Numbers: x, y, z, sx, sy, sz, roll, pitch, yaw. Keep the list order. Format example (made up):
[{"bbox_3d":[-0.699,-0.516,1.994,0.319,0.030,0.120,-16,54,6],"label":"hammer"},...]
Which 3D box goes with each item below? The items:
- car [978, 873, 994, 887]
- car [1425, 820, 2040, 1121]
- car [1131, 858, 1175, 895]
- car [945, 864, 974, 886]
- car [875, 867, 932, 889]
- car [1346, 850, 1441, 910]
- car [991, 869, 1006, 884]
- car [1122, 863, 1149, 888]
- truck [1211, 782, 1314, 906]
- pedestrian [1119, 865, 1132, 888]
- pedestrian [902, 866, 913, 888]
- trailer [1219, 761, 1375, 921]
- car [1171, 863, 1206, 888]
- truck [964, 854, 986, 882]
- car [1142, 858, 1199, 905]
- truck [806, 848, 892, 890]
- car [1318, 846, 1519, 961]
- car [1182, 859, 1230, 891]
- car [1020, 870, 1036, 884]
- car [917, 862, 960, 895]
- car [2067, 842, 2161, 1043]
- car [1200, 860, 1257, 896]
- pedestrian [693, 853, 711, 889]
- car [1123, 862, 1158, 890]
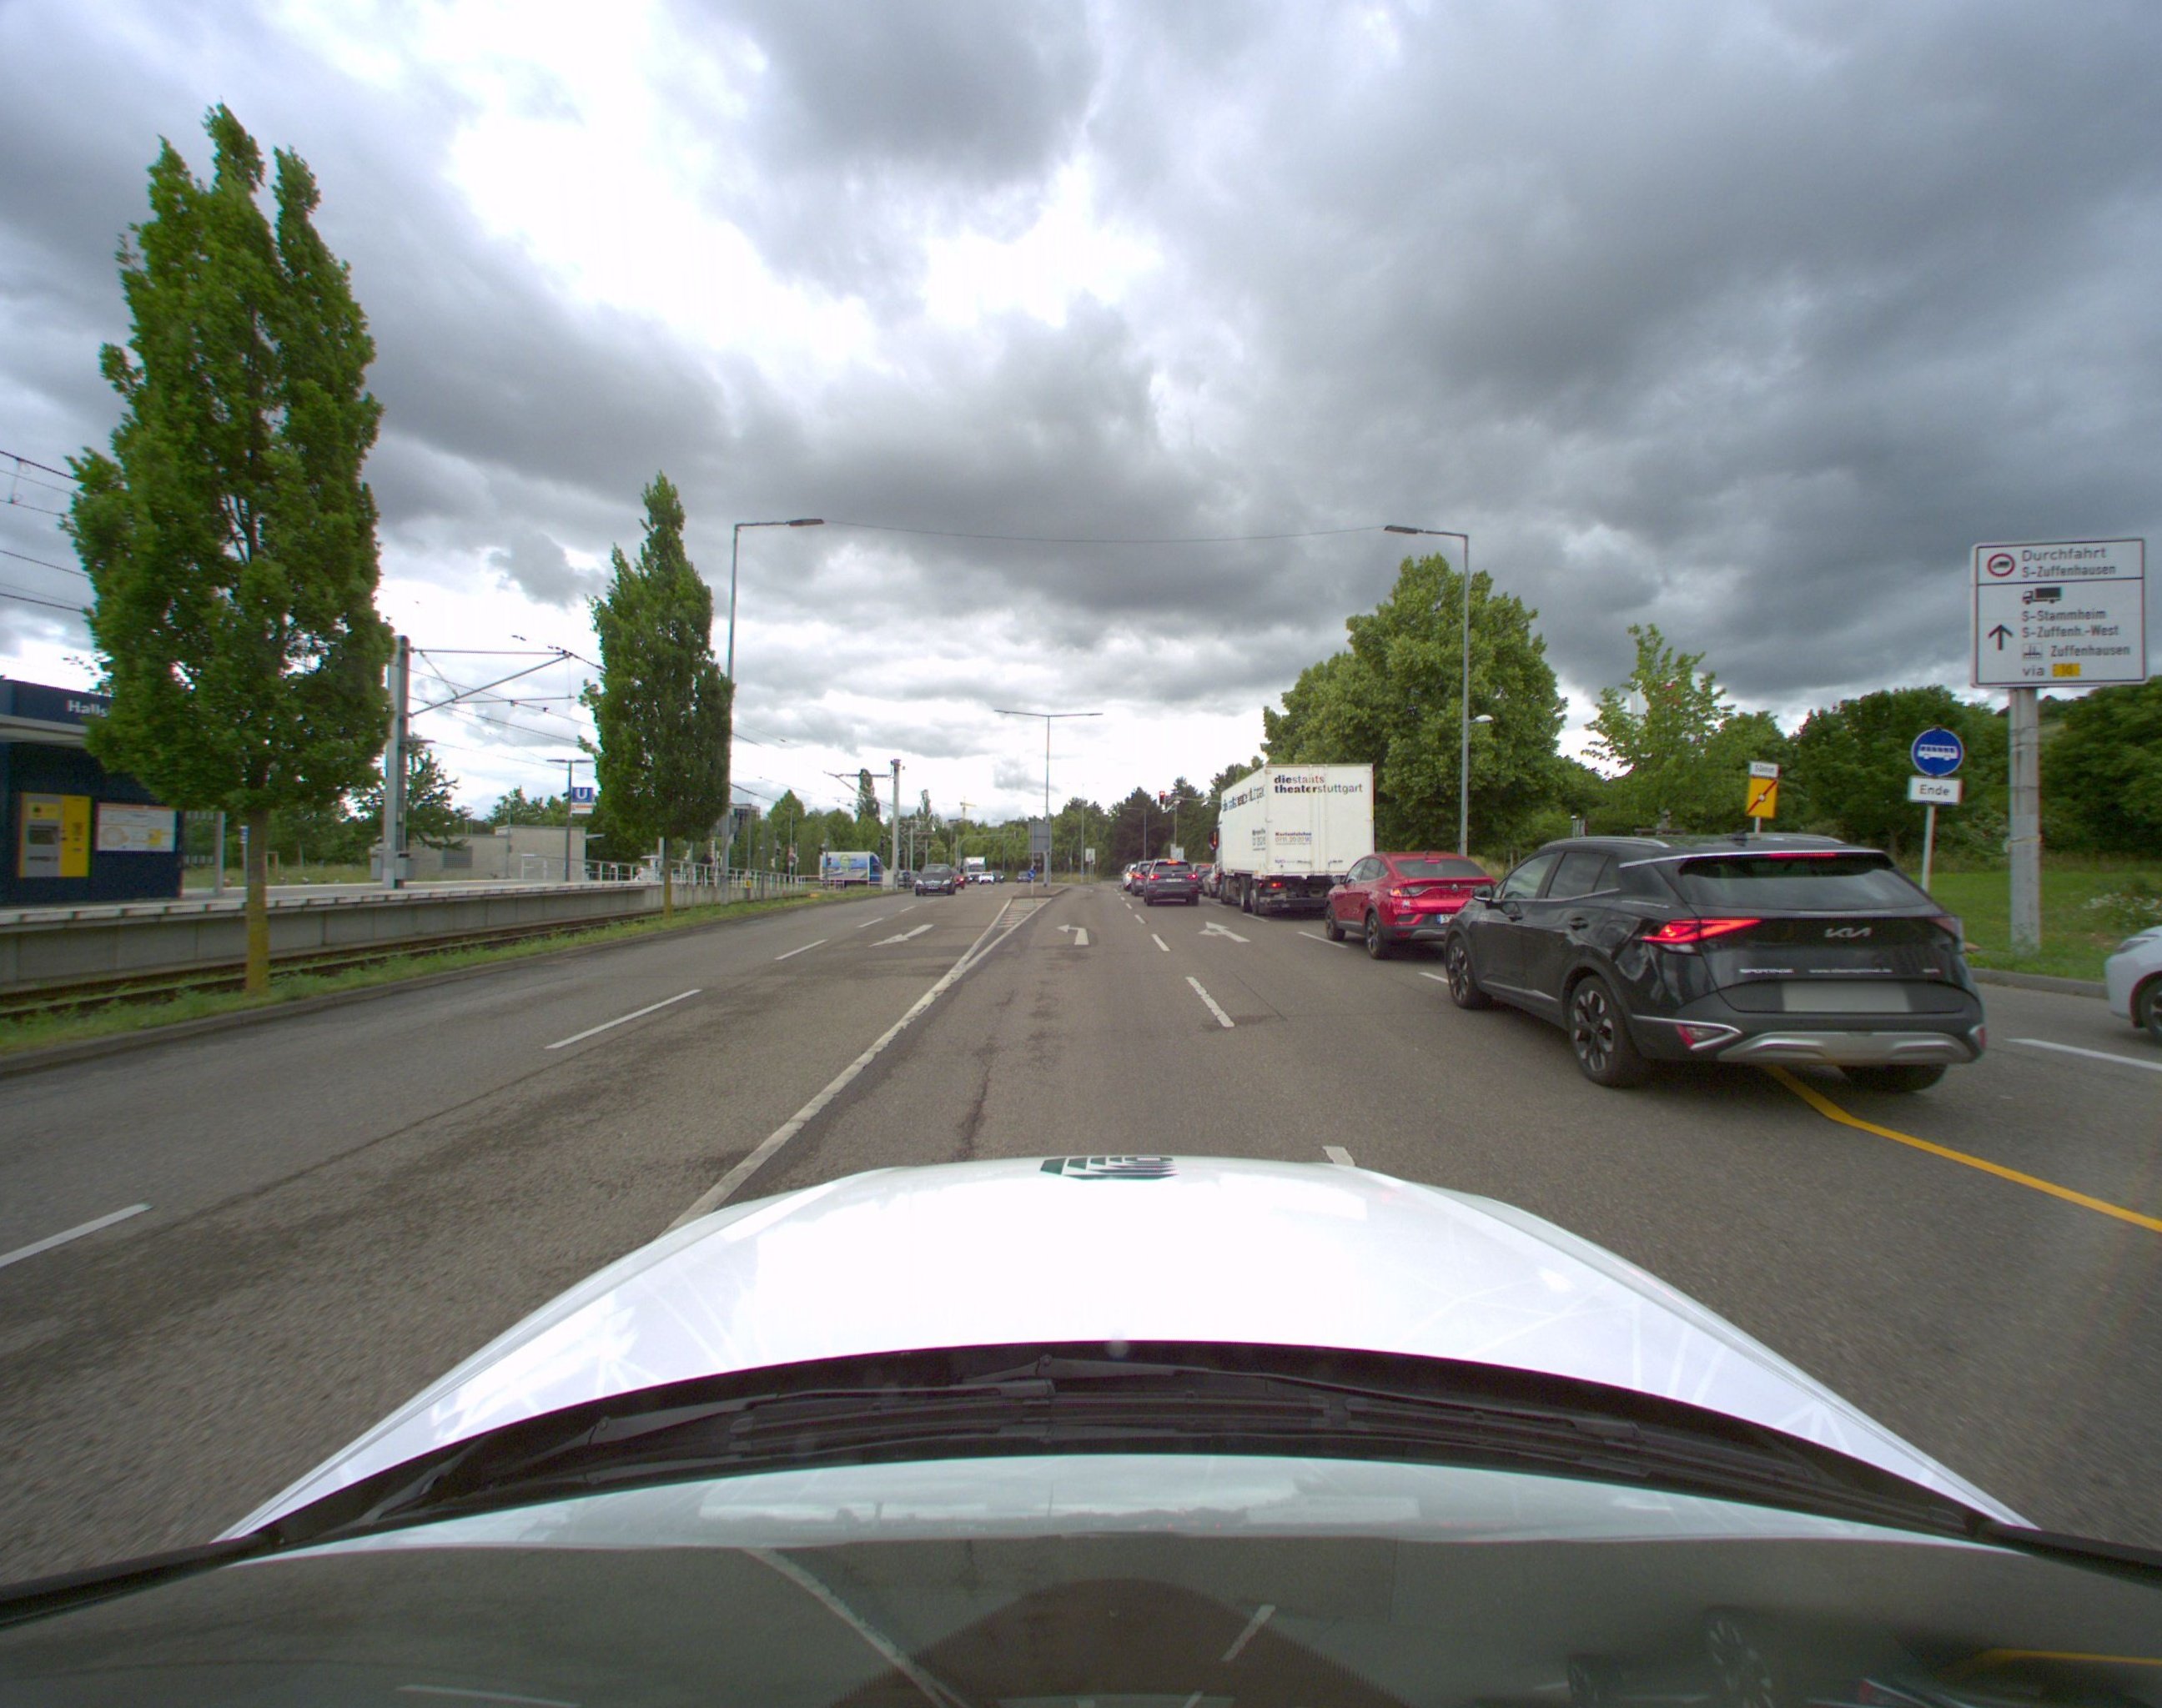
[{"bbox_3d":[-11.405,3.155,97.739,1.773,1.508,3.738,0,1,-7],"label":"car"},{"bbox_3d":[4.349,0.617,6.525,1.834,1.561,4.414,-1,0,8],"label":"car"},{"bbox_3d":[3.148,0.956,36.277,1.792,1.523,4.191,-1,0,3],"label":"car"},{"bbox_3d":[-8.894,1.527,59.776,1.699,1.488,4.082,-1,-1,-3],"label":"car"},{"bbox_3d":[-14.221,1.914,65.384,3.962,1.595,2.006,-1,2,10],"label":"car"},{"bbox_3d":[8.854,0.689,23.331,1.565,1.571,3.059,1,0,0],"label":"car"},{"bbox_3d":[-11.670,3.173,115.621,1.912,1.727,3.995,-1,2,-4],"label":"car"},{"bbox_3d":[3.371,1.314,50.349,1.529,1.504,2.670,-1,-2,1],"label":"car"},{"bbox_3d":[5.853,-0.298,26.812,2.561,3.705,4.108,-1,0,2],"label":"truck"},{"bbox_3d":[3.115,1.544,57.026,0.861,1.560,0.518,-1,1,-1],"label":"pedestrian"},{"bbox_3d":[-12.273,1.610,57.705,0.349,1.556,0.657,0,2,35],"label":"pedestrian"},{"bbox_3d":[5.726,-0.318,22.987,2.556,3.705,7.768,-1,0,2],"label":"trailer"},{"bbox_3d":[6.224,1.243,47.512,1.540,1.404,3.999,-1,-1,0],"label":"car"},{"bbox_3d":[-14.775,1.891,112.967,2.660,3.649,9.468,0,-1,-10],"label":"truck"},{"bbox_3d":[2.999,0.904,27.978,1.691,1.486,4.002,-1,-1,3],"label":"car"},{"bbox_3d":[-21.351,1.387,75.318,7.230,3.598,2.687,-1,1,-6],"label":"truck"},{"bbox_3d":[5.141,0.680,13.050,1.699,1.524,4.324,-1,0,4],"label":"car"},{"bbox_3d":[6.012,1.002,39.621,1.818,1.435,4.214,-1,-1,2],"label":"car"},{"bbox_3d":[-7.134,3.040,109.488,1.913,1.576,3.992,-1,2,-6],"label":"car"},{"bbox_3d":[-7.239,1.244,41.613,1.722,1.574,3.701,-1,-1,-4],"label":"car"},{"bbox_3d":[8.598,0.631,4.639,1.616,1.457,3.692,-1,0,4],"label":"car"},{"bbox_3d":[5.972,0.956,33.371,1.804,1.354,4.122,-1,-1,4],"label":"car"},{"bbox_3d":[-19.440,0.872,41.803,0.570,1.828,0.792,0,-1,-3],"label":"pedestrian"},{"bbox_3d":[3.248,1.217,45.196,1.715,1.422,4.357,-1,-1,1],"label":"car"}]
